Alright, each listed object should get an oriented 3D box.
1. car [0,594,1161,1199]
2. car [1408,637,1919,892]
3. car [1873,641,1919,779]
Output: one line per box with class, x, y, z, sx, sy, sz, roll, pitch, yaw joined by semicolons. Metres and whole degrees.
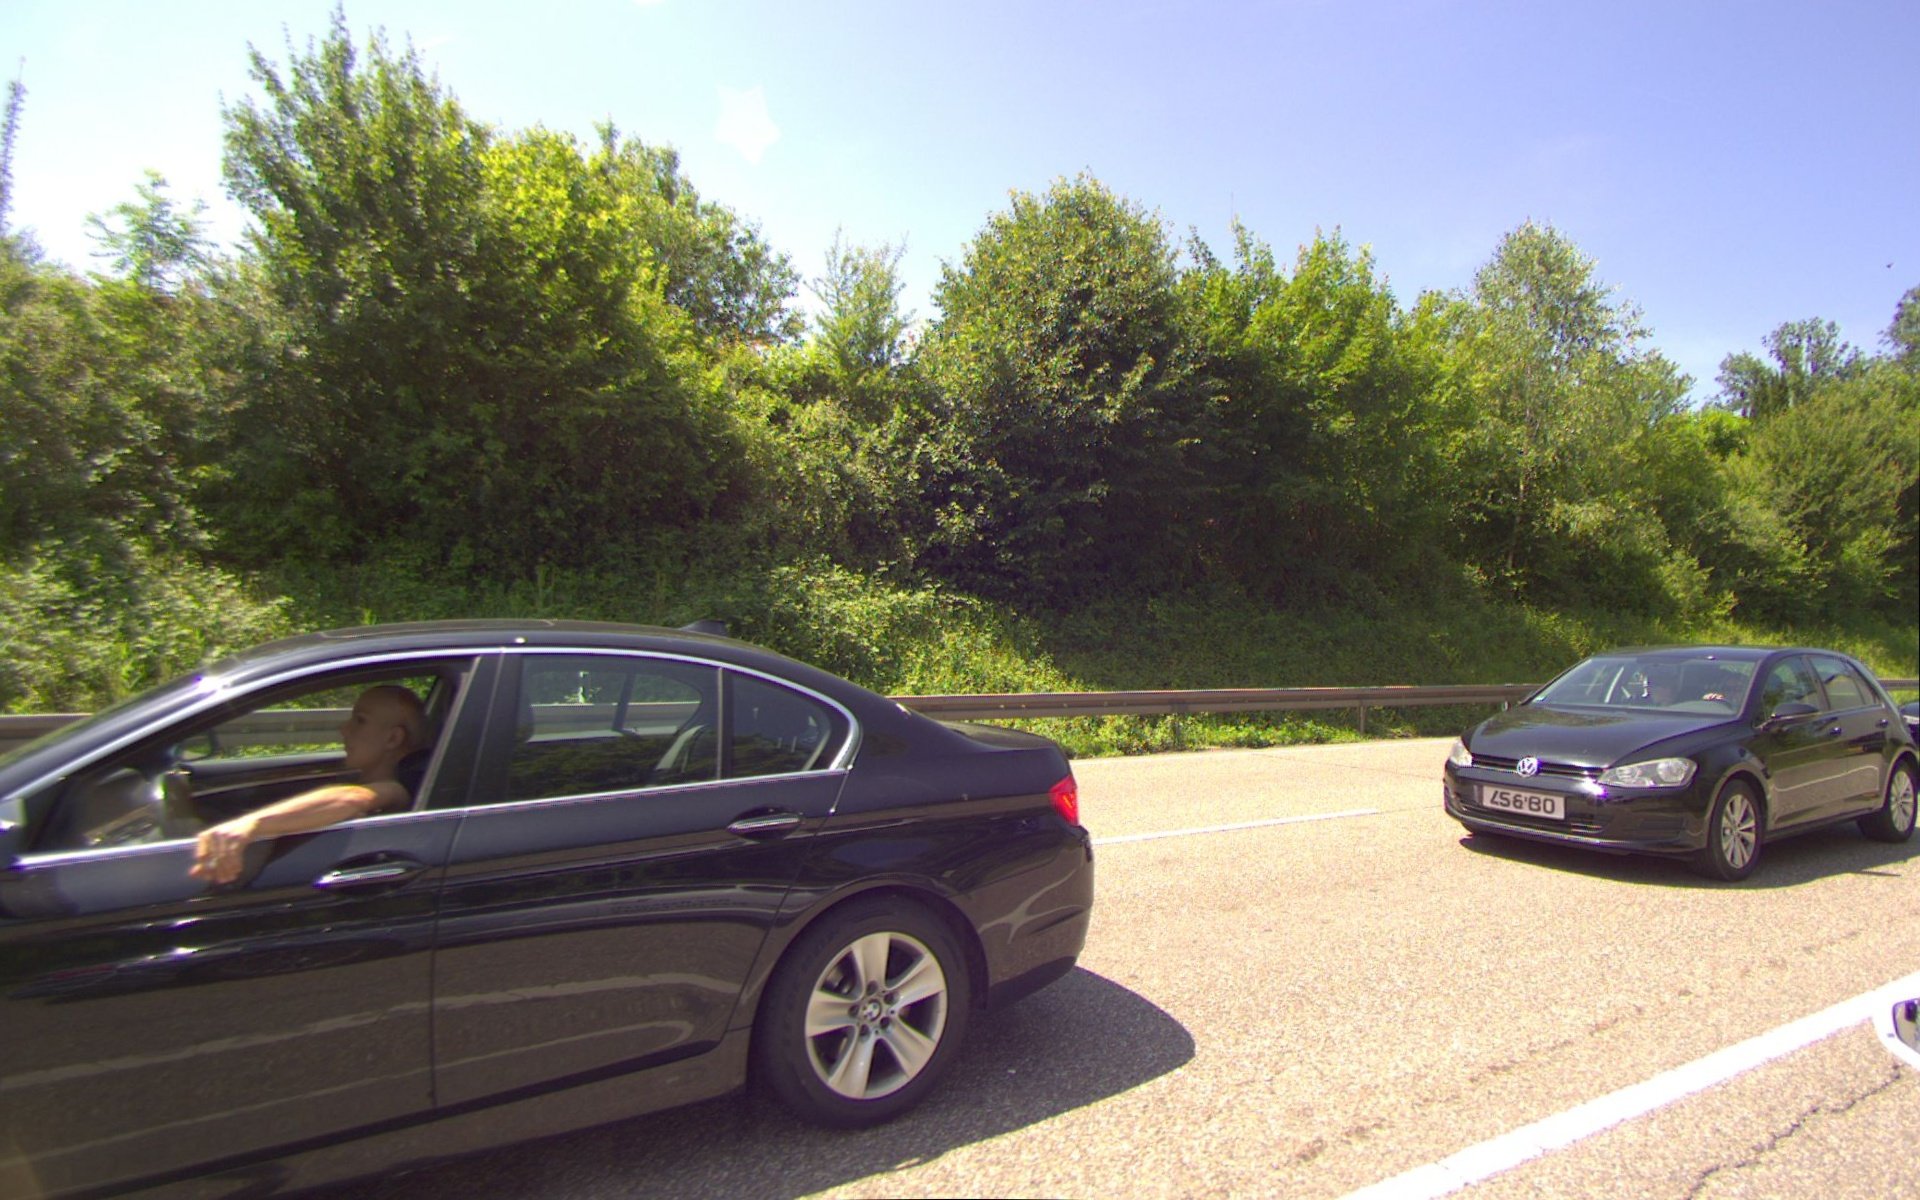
car;-1.719;0.754;3.026;4.588;1.466;1.772;2;-2;-31
car;5.389;0.997;7.453;4.132;1.433;1.674;1;-2;-30
car;12.408;1.250;11.404;4.334;1.472;1.796;2;-2;-30
